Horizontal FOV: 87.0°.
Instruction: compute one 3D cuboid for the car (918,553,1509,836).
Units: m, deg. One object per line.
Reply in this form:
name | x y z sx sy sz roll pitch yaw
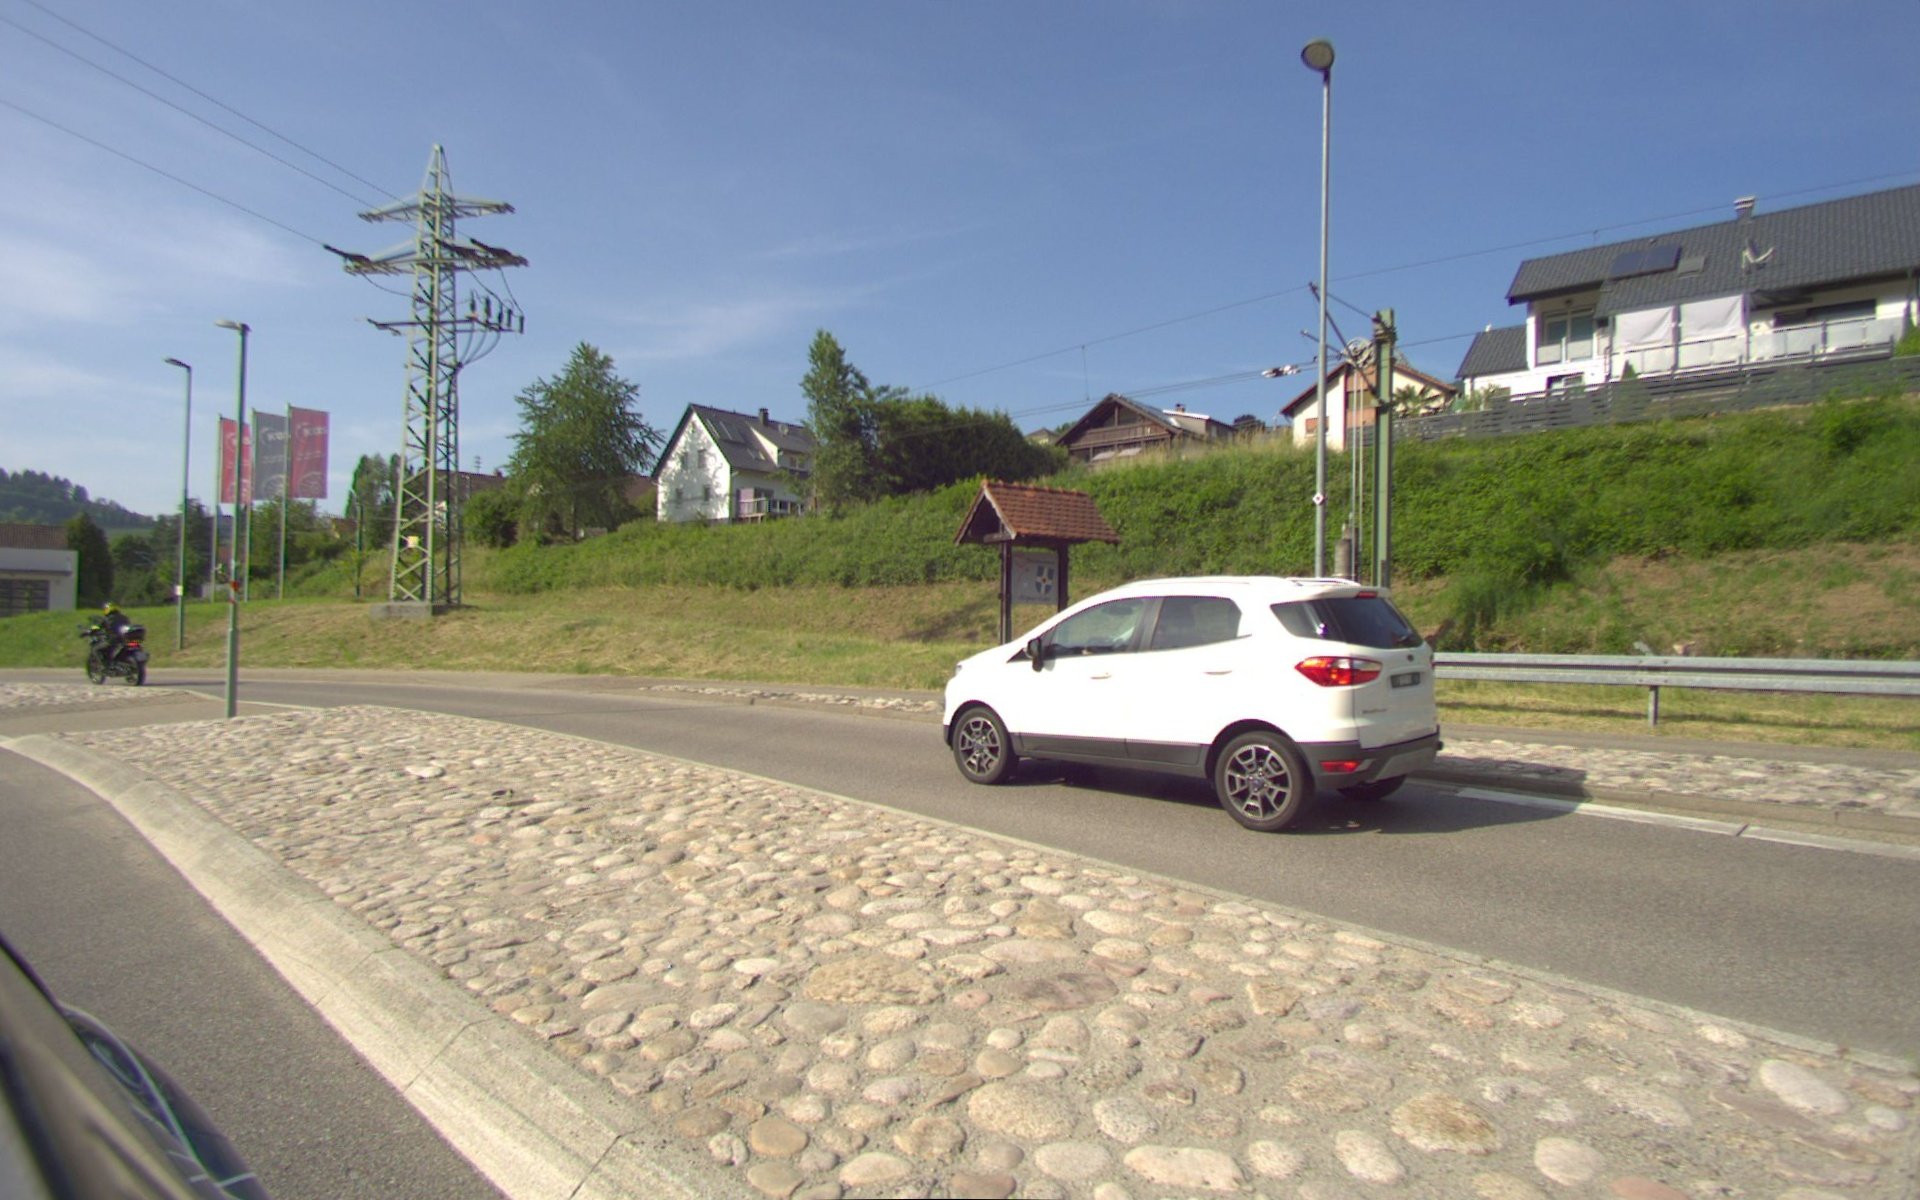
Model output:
car | 1.695 0.562 7.656 4.001 1.572 1.744 -1 -1 44
